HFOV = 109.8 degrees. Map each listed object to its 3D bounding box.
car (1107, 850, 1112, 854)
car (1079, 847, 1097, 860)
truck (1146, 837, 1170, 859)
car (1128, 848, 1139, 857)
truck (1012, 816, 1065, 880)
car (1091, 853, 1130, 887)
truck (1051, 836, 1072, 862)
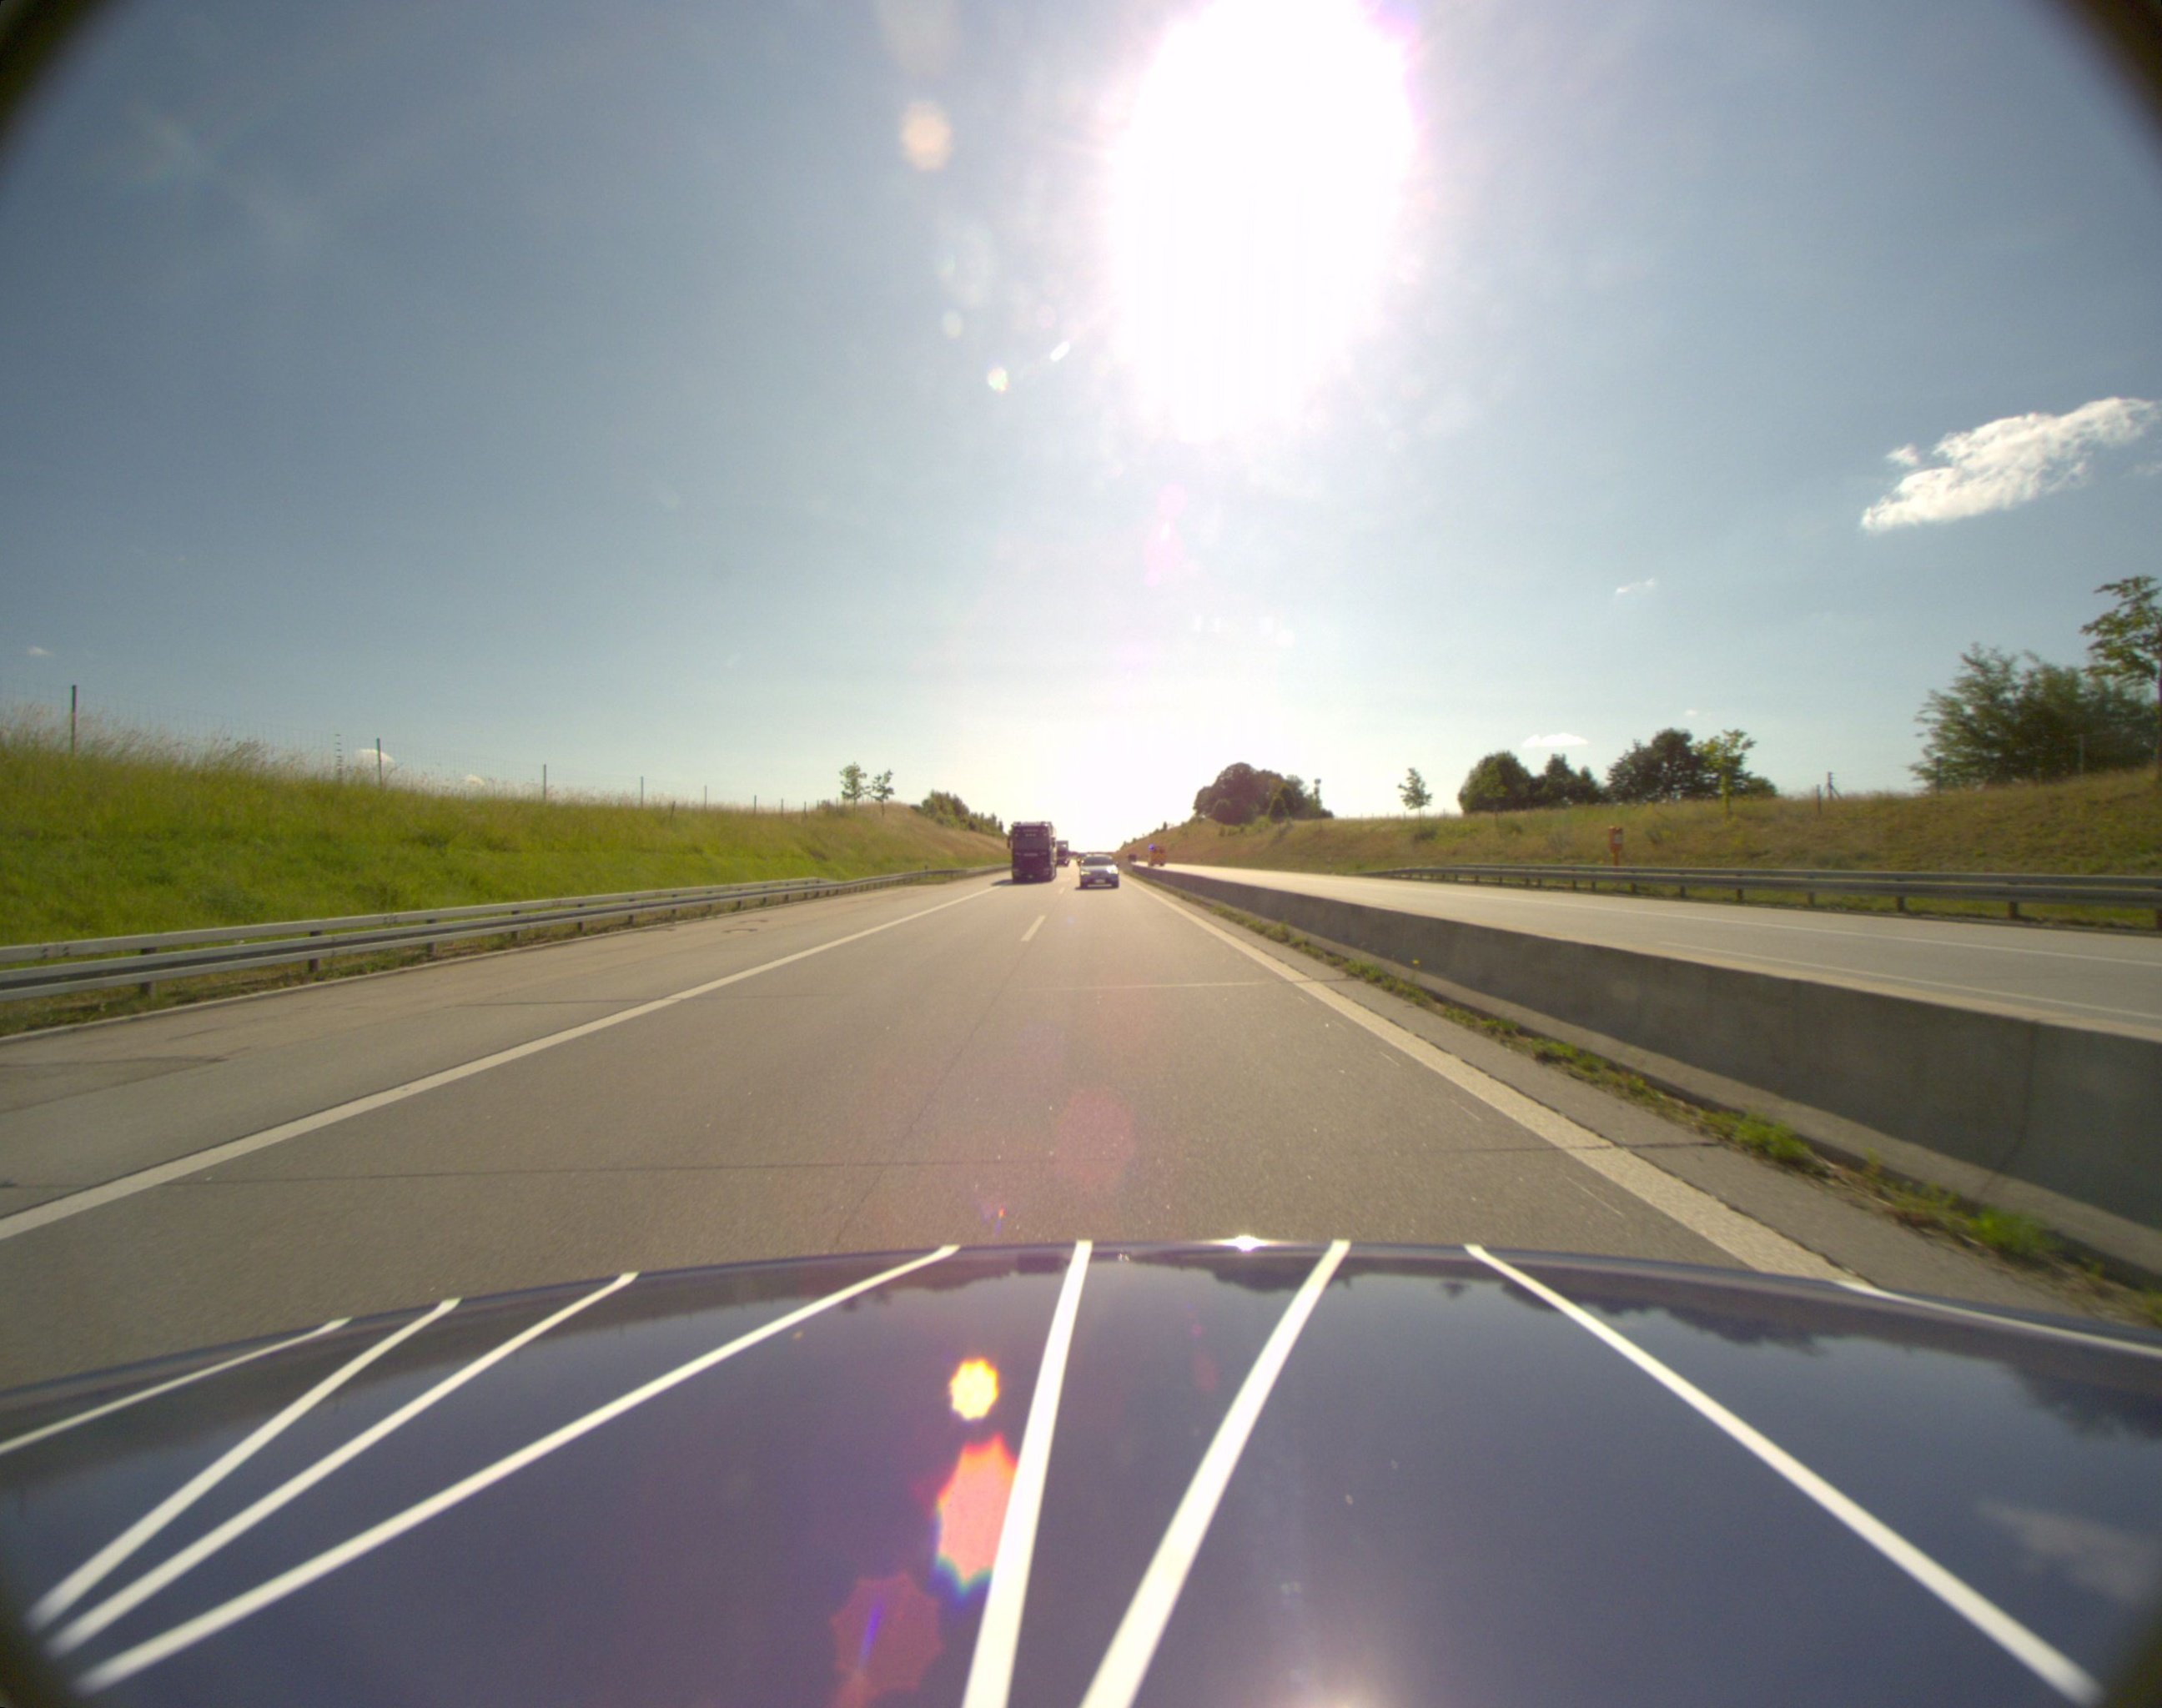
[{"bbox_3d":[9.961,-0.622,265.547,1.808,1.462,4.526,-1,0,0],"label":"car"},{"bbox_3d":[1.184,-0.034,133.071,2.816,2.143,5.946,1,0,-1],"label":"car"},{"bbox_3d":[11.145,-0.864,111.014,2.781,3.004,6.791,-2,0,0],"label":"truck"},{"bbox_3d":[11.710,-0.310,170.051,1.998,2.002,4.969,-2,0,0],"label":"car"},{"bbox_3d":[-2.725,-0.388,52.933,2.623,3.795,13.403,-1,0,1],"label":"truck"},{"bbox_3d":[1.413,0.729,36.726,1.795,1.501,3.635,-1,0,2],"label":"car"},{"bbox_3d":[-2.907,-0.747,118.942,3.025,3.795,13.401,1,0,-1],"label":"truck"}]
